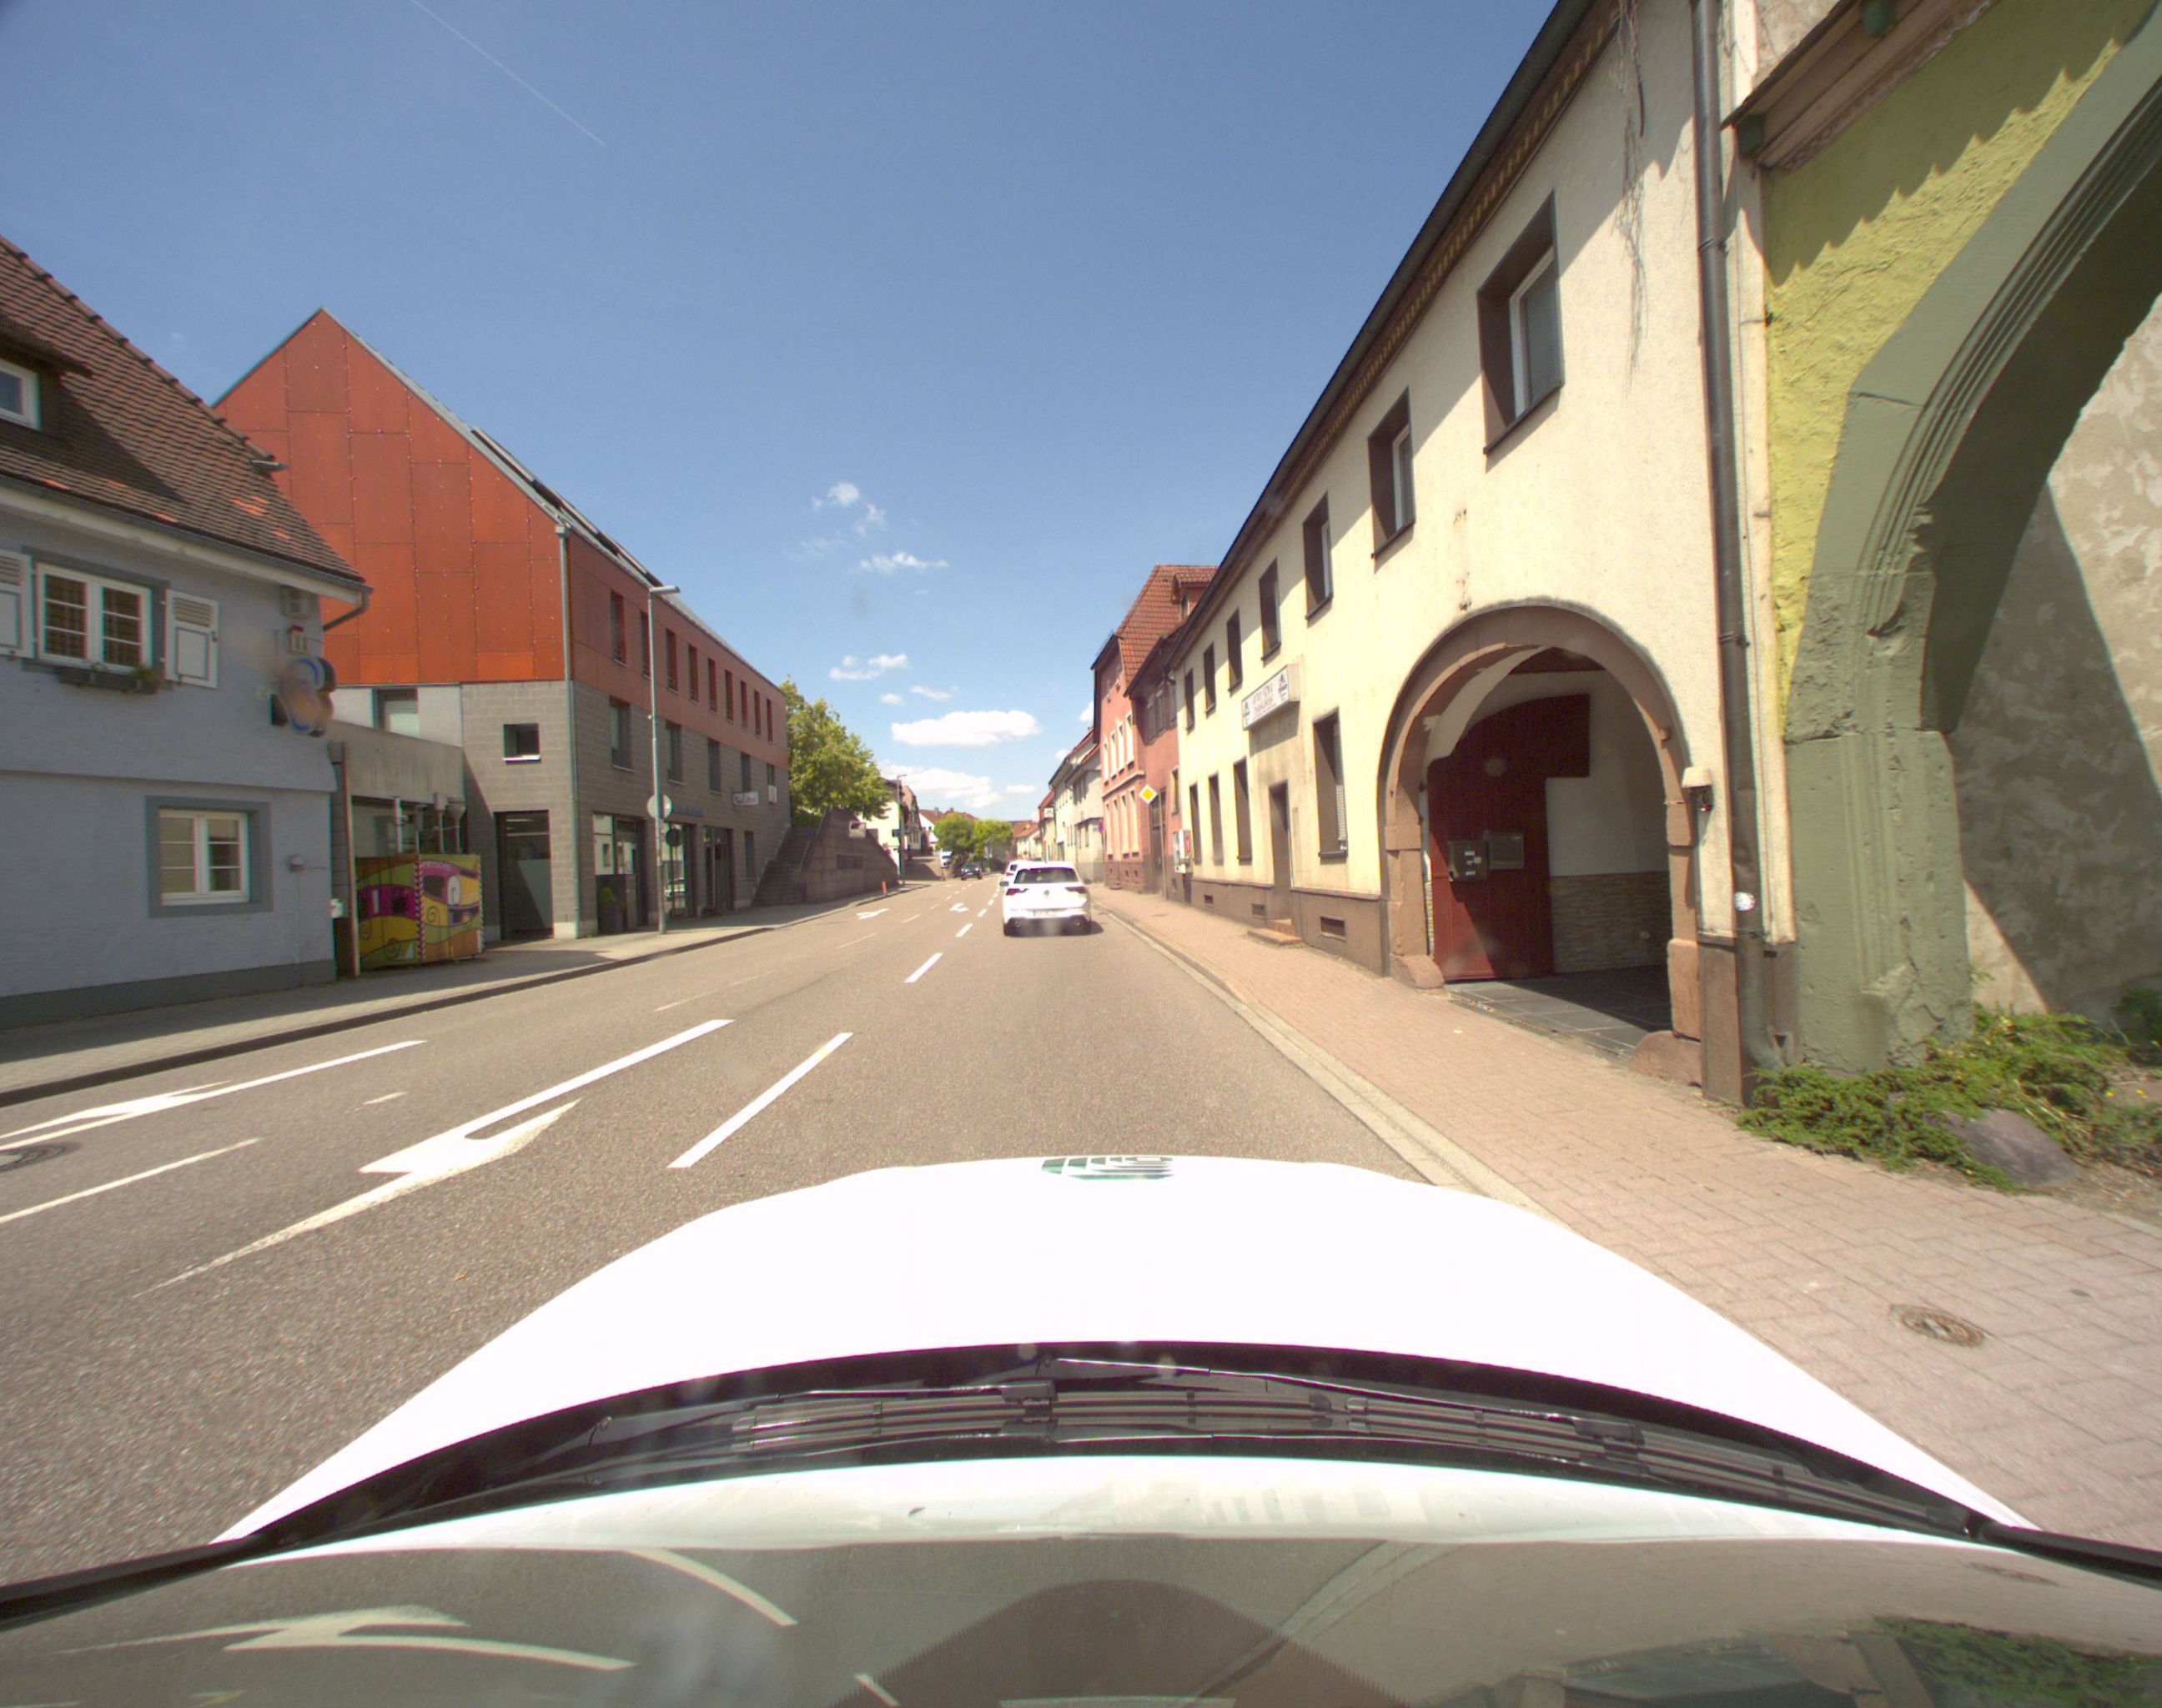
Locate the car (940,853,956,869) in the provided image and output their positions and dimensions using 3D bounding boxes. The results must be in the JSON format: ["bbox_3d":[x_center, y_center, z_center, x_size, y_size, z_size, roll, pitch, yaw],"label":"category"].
[{"bbox_3d":[-16.139,0.804,99.058,1.691,1.542,3.849,-2,5,-6],"label":"car"}]

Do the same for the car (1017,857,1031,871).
[{"bbox_3d":[-7.570,1.339,108.761,1.772,1.765,3.994,-2,0,-4],"label":"car"}]

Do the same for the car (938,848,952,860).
[{"bbox_3d":[-18.530,-0.015,111.125,1.575,1.361,3.849,-2,5,-6],"label":"car"}]

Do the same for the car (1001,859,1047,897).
[{"bbox_3d":[-2.427,0.991,34.214,1.805,1.468,3.993,-1,-1,-5],"label":"car"}]

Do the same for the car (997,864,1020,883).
[{"bbox_3d":[-6.340,1.695,71.488,1.772,1.538,3.995,-2,0,-3],"label":"car"}]

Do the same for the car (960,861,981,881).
[{"bbox_3d":[-10.124,1.542,74.822,1.667,1.657,4.009,-2,0,-6],"label":"car"}]

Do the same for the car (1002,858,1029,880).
[{"bbox_3d":[-4.567,1.038,56.521,1.805,1.468,3.991,-1,-1,-6],"label":"car"}]

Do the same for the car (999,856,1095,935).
[{"bbox_3d":[-0.624,0.819,17.415,1.801,1.468,4.000,-1,-1,1],"label":"car"}]
